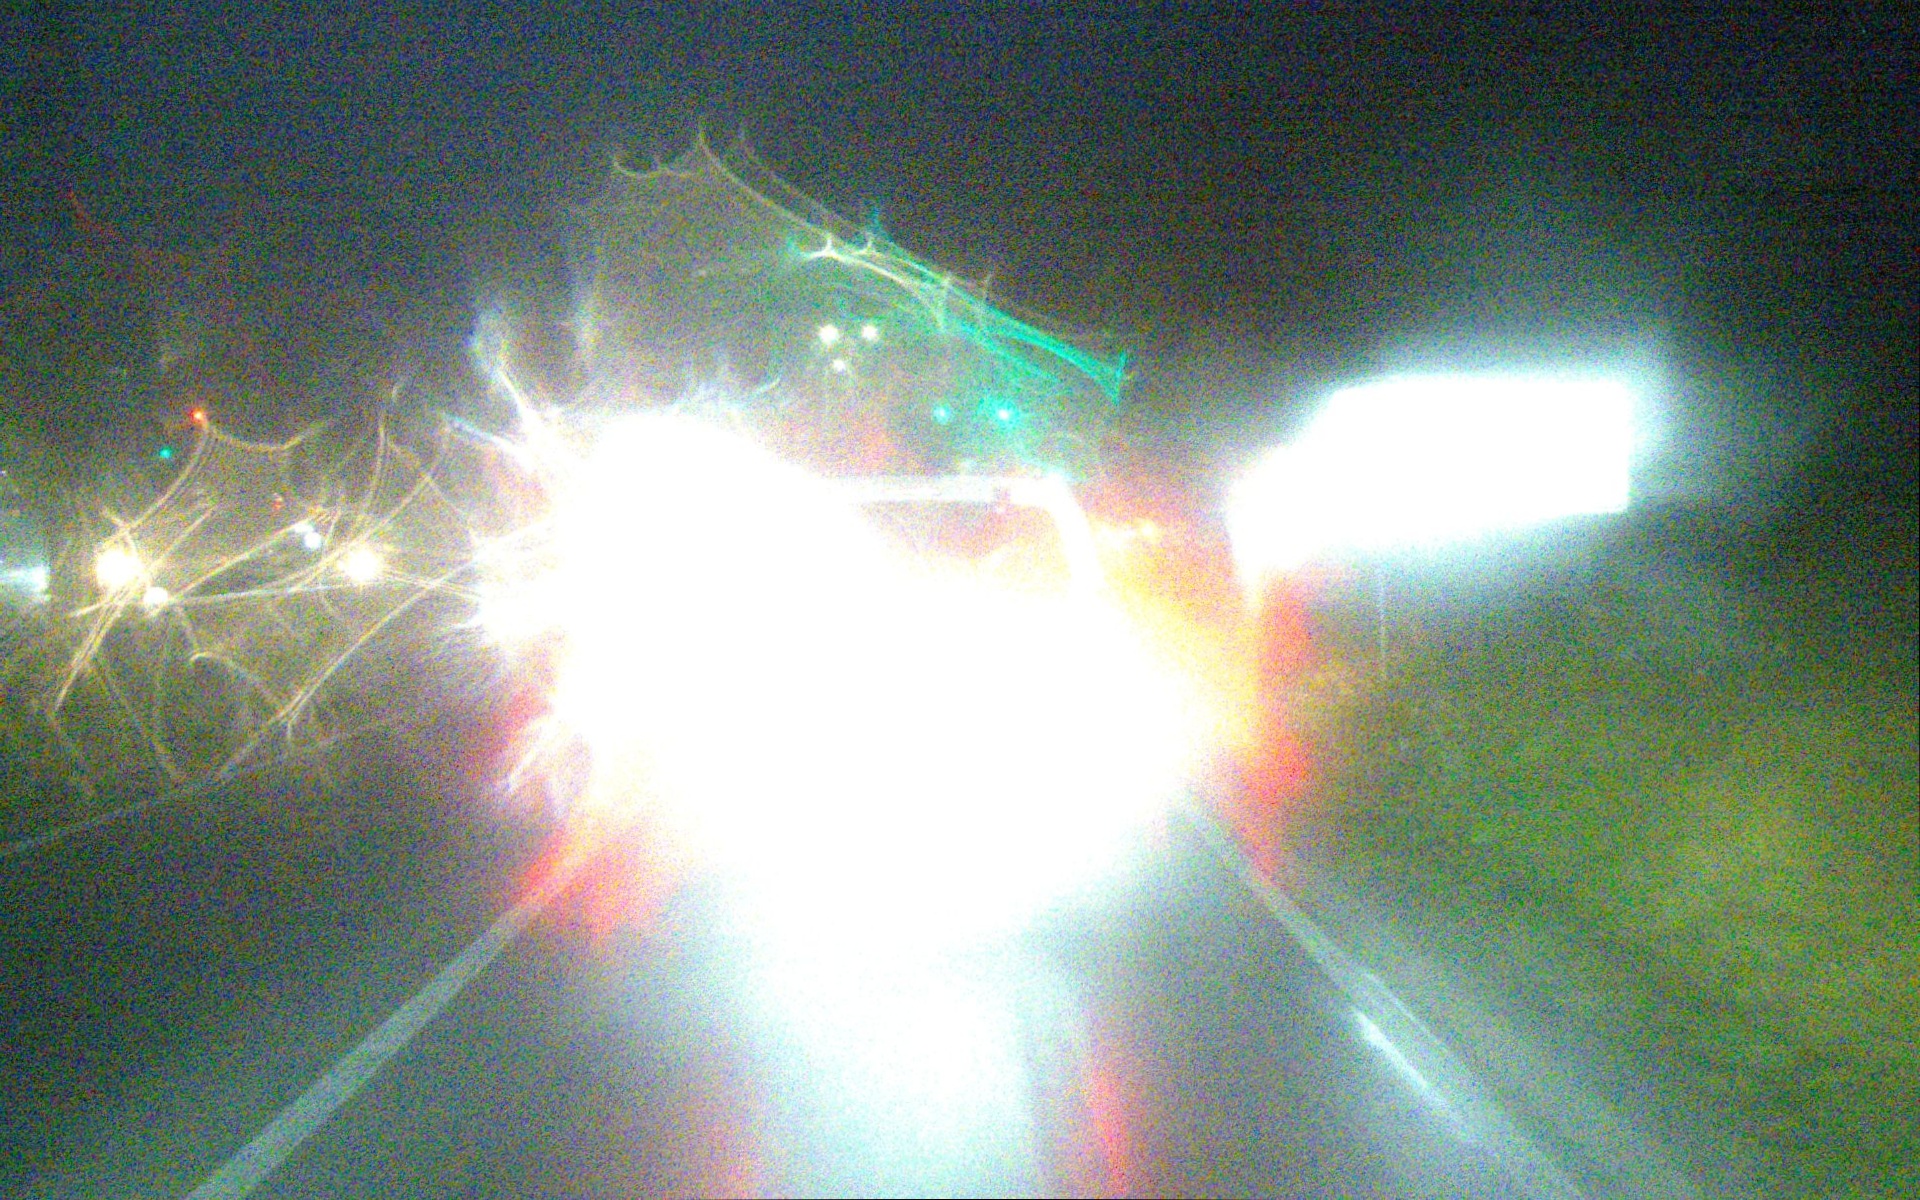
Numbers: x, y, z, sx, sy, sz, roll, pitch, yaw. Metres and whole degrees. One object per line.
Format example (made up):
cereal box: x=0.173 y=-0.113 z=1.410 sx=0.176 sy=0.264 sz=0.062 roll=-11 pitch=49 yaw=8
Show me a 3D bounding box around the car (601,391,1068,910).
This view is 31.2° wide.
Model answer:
car: x=-0.552 y=0.137 z=16.258 sx=1.791 sy=2.015 sz=4.580 roll=-3 pitch=2 yaw=-1
